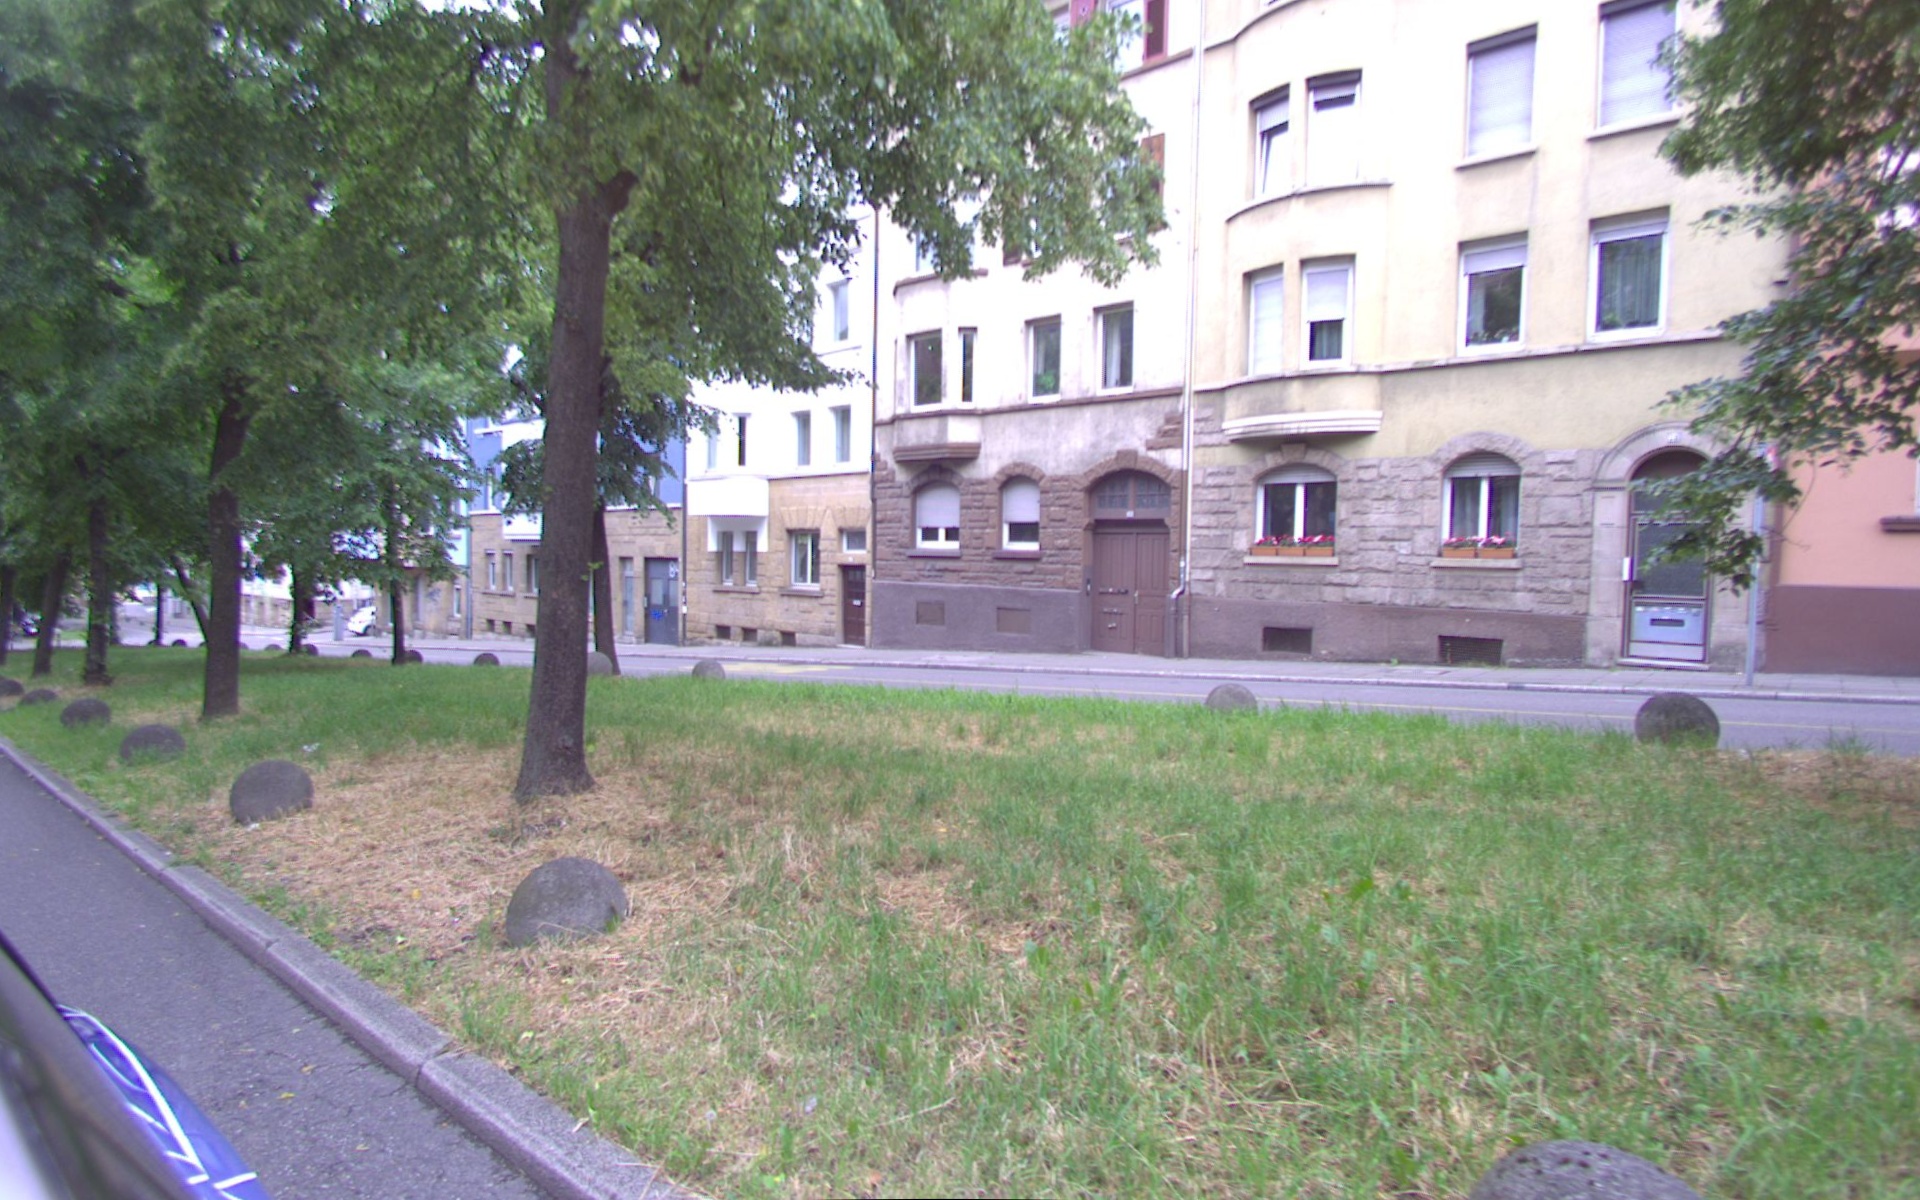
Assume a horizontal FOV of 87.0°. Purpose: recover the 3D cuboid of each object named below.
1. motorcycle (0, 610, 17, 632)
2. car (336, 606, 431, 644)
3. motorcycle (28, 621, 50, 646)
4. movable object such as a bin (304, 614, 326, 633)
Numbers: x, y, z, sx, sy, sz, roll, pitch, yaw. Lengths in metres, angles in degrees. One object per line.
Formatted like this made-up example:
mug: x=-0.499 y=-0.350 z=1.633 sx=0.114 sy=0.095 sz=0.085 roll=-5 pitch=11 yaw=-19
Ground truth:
motorcycle: x=-67.252 y=1.441 z=70.396 sx=0.963 sy=1.494 sz=2.392 roll=3 pitch=2 yaw=42
car: x=-30.752 y=1.297 z=54.073 sx=1.869 sy=1.480 sz=3.960 roll=2 pitch=7 yaw=39
motorcycle: x=-45.787 y=1.666 z=50.343 sx=0.740 sy=1.081 sz=1.854 roll=-2 pitch=3 yaw=-41
movable object such as a bin: x=-36.973 y=1.346 z=57.990 sx=0.668 sy=1.001 sz=0.877 roll=0 pitch=3 yaw=40
